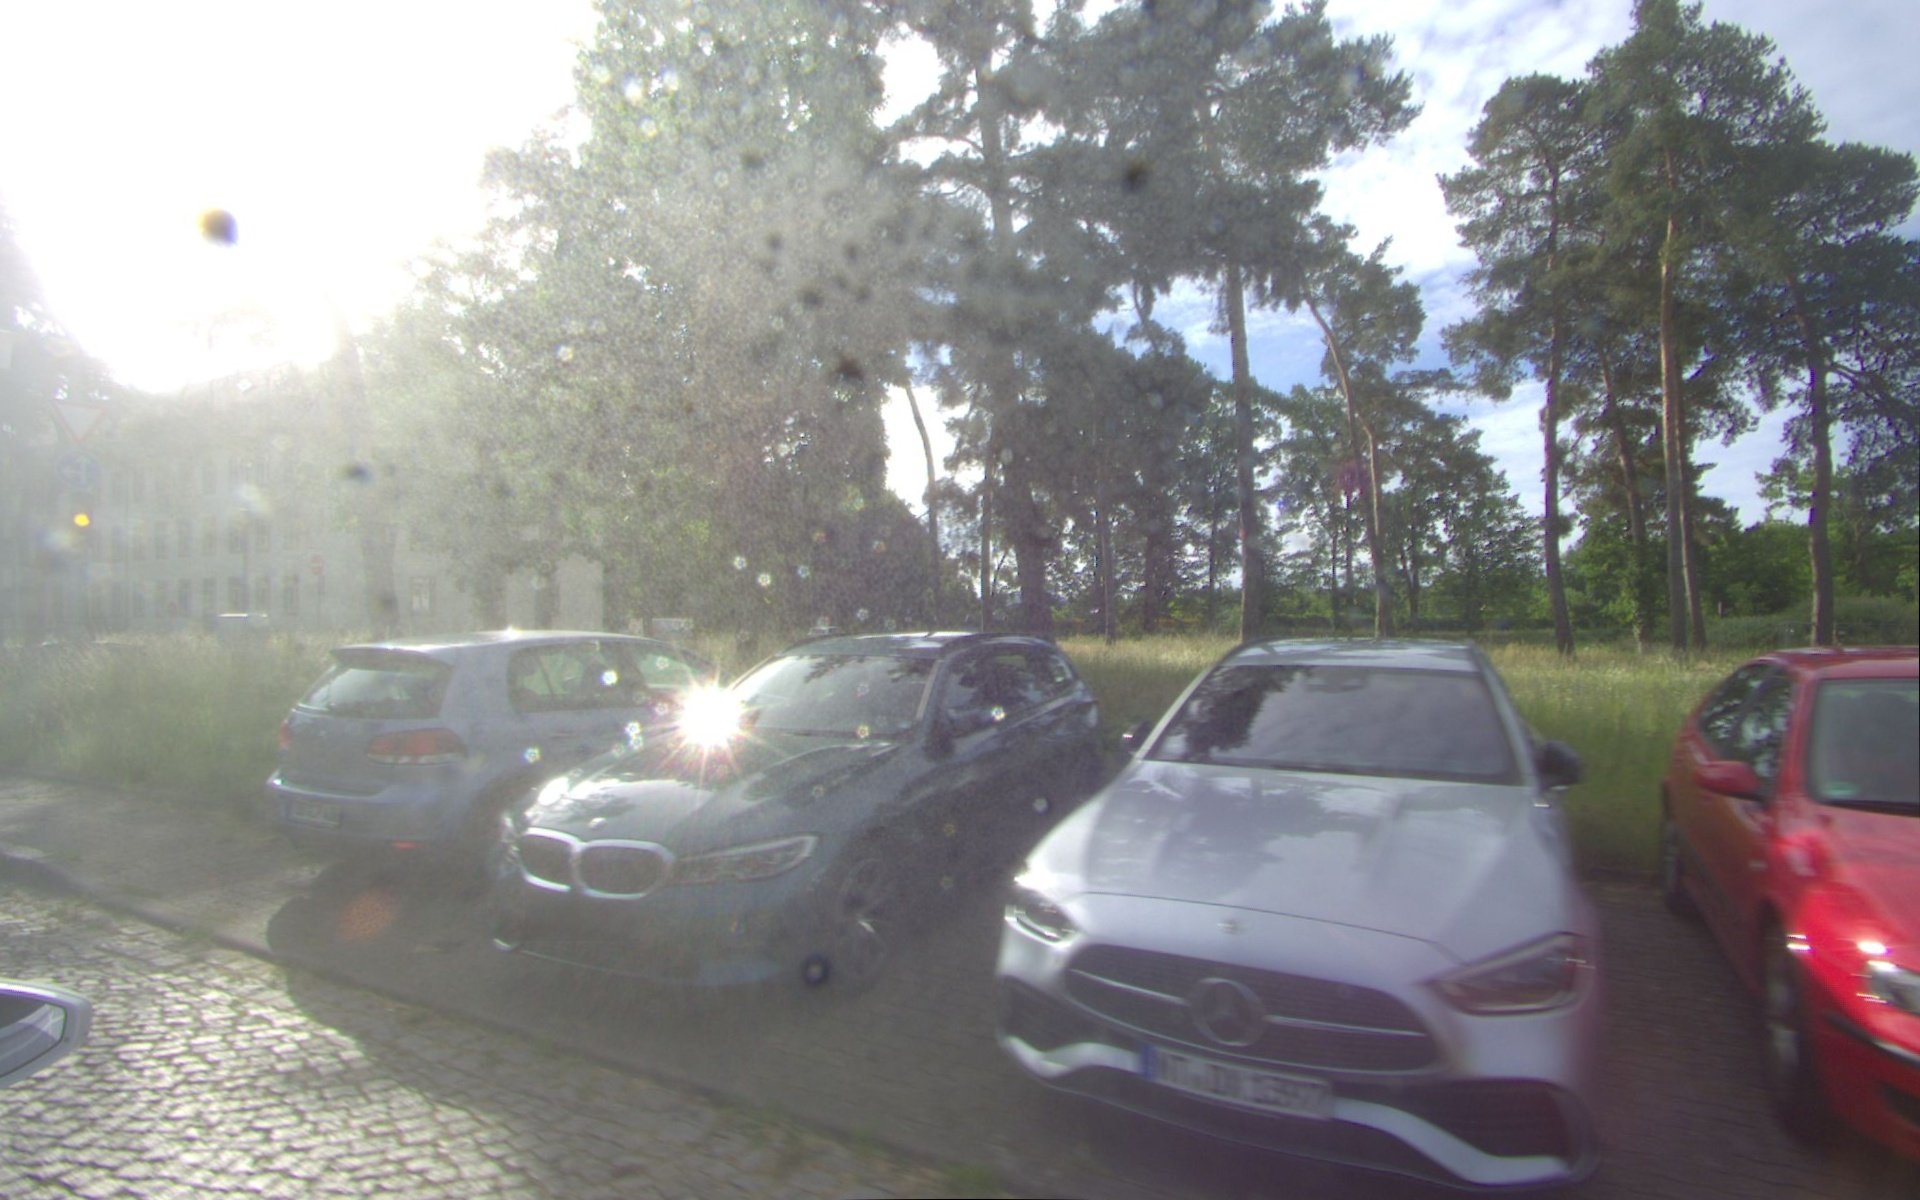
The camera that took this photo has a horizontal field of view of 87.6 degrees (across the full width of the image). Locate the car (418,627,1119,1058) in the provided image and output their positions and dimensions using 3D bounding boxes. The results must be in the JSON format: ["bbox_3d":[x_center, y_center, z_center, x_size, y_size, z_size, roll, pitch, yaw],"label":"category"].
[{"bbox_3d":[-0.572,0.931,6.008,1.864,1.492,4.507,-1,-1,25],"label":"car"}]

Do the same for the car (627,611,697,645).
[{"bbox_3d":[-23.327,2.229,78.501,2.231,2.568,5.153,-1,-2,30],"label":"car"}]

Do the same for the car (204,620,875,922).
[{"bbox_3d":[-2.656,0.931,7.584,1.903,1.525,4.542,-1,-1,27],"label":"car"}]

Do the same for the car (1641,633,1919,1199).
[{"bbox_3d":[3.870,0.903,3.769,1.713,1.492,4.337,-1,-1,28],"label":"car"}]

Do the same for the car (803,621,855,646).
[{"bbox_3d":[-9.271,2.385,71.144,1.827,1.701,3.931,-1,-2,27],"label":"car"}]

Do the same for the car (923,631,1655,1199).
[{"bbox_3d":[1.759,0.923,4.569,1.821,1.492,4.503,-1,-1,28],"label":"car"}]
